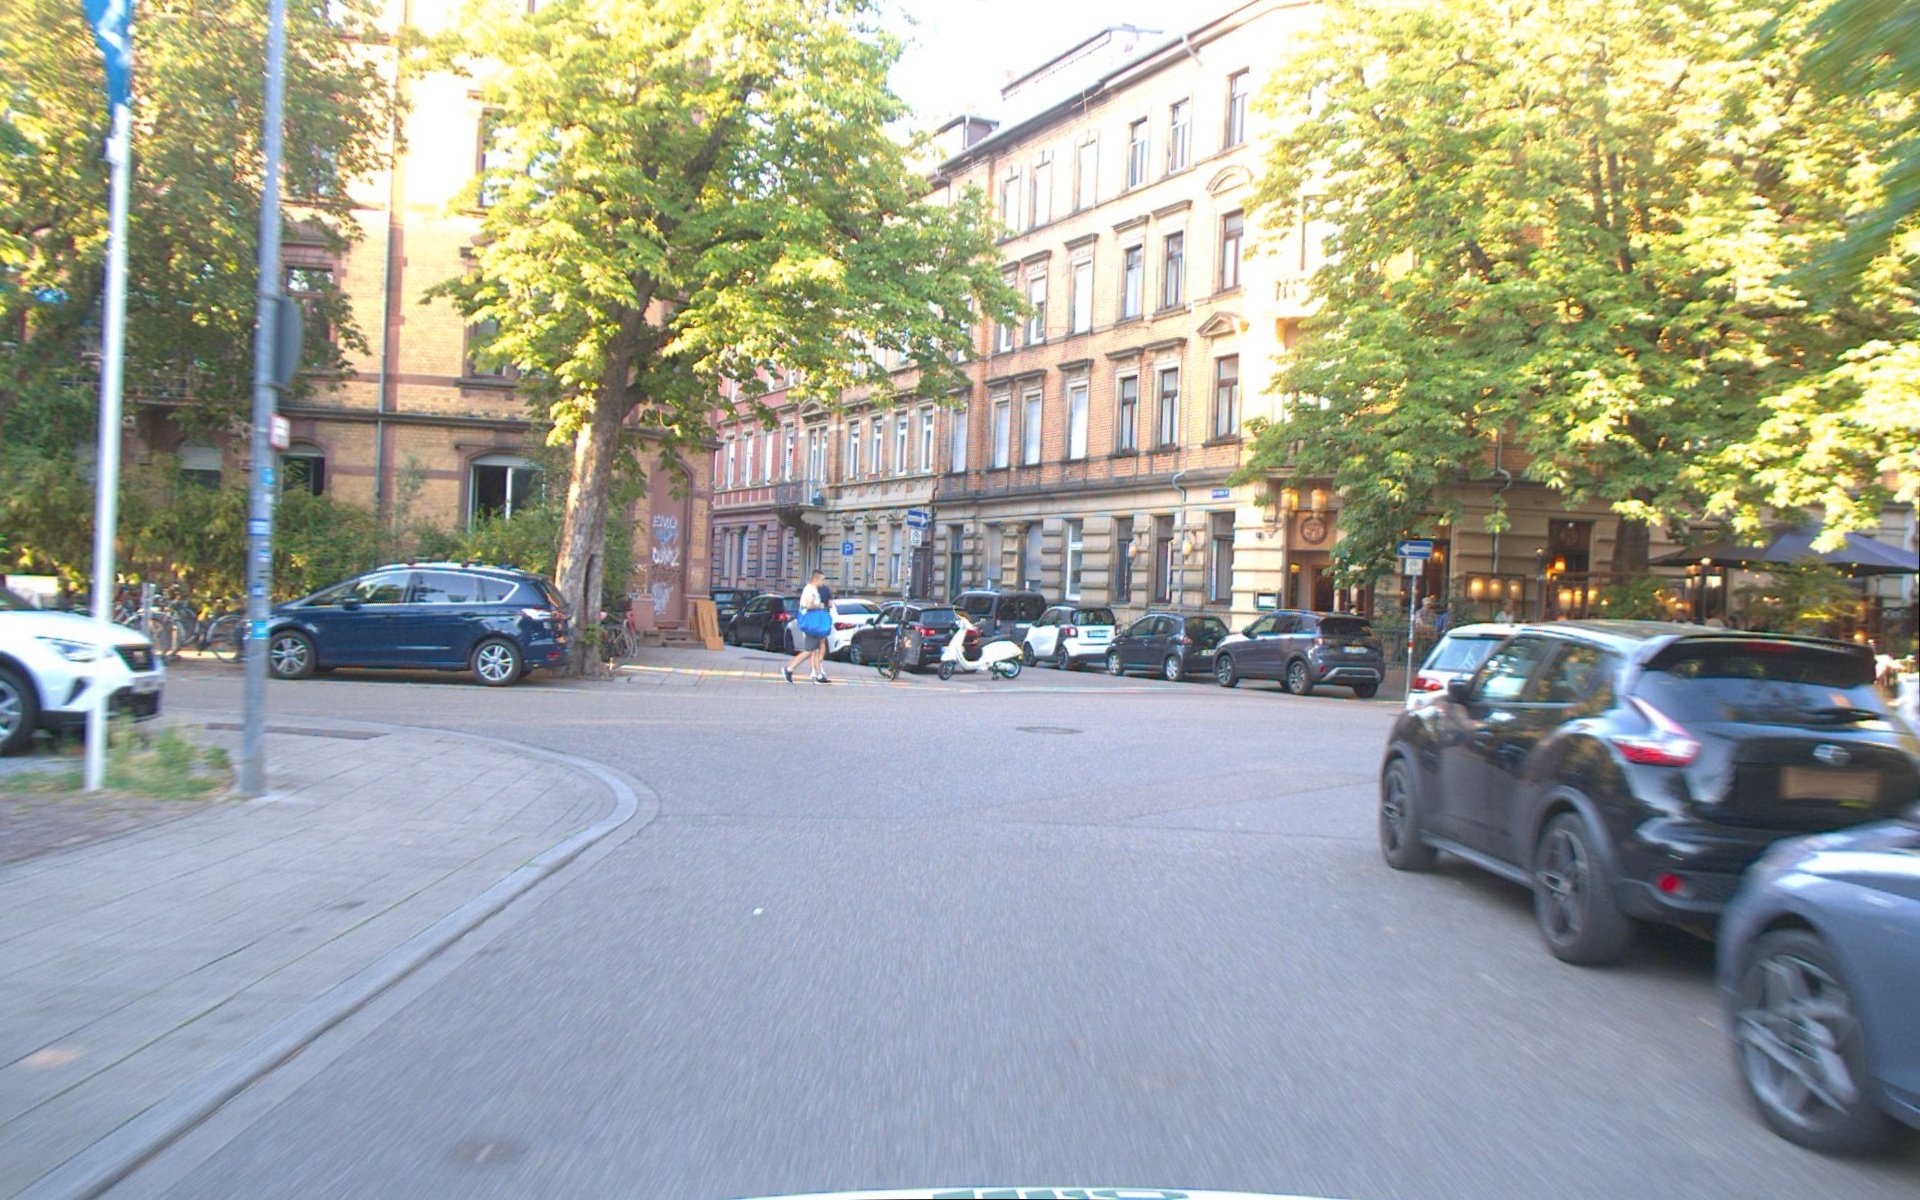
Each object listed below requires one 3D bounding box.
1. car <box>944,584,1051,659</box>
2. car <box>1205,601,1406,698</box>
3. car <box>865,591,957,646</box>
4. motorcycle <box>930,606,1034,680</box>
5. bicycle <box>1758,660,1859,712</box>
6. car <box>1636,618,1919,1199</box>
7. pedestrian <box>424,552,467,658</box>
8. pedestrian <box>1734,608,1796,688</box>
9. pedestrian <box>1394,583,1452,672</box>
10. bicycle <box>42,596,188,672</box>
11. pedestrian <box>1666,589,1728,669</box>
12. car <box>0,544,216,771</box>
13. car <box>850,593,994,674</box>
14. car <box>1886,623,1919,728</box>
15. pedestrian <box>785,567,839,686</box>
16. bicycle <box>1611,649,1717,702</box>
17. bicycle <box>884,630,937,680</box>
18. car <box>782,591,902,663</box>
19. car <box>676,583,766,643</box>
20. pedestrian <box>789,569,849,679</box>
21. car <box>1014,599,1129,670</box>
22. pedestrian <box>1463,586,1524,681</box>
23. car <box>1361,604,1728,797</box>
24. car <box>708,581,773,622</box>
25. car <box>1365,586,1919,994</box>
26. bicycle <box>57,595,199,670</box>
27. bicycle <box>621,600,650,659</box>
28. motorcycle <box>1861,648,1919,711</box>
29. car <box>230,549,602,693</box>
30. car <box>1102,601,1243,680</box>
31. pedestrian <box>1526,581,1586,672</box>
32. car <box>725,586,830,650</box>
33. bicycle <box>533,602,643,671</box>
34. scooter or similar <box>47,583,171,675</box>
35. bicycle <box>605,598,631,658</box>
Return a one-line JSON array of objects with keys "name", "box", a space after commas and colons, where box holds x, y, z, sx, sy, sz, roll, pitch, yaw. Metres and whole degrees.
[{"name": "car", "box": [0.972, 0.542, 43.963, 1.653, 1.813, 2.992, 3, 1, -24]}, {"name": "car", "box": [6.675, 0.934, 32.380, 1.889, 1.552, 3.867, 3, 2, -24]}, {"name": "car", "box": [-1.491, 0.530, 49.243, 1.653, 1.456, 2.992, 3, 1, -24]}, {"name": "motorcycle", "box": [0.428, 0.836, 32.128, 1.897, 1.364, 0.576, 2, 1, -11]}, {"name": "bicycle", "box": [15.690, 1.588, 30.575, 1.842, 0.900, 0.399, 2, 1, -14]}, {"name": "car", "box": [3.409, 0.856, 3.794, 1.662, 1.502, 4.208, 2, 0, -5]}, {"name": "pedestrian", "box": [-8.271, 0.074, 26.592, 0.532, 1.663, 0.448, 2, 1, -5]}, {"name": "pedestrian", "box": [15.835, 0.931, 32.545, 0.759, 1.507, 0.760, 2, 1, -11]}, {"name": "pedestrian", "box": [9.839, 0.585, 35.182, 0.828, 1.835, 0.771, 2, 1, -21]}, {"name": "bicycle", "box": [-12.215, 0.496, 23.965, 1.831, 1.046, 0.442, 2, 1, -25]}, {"name": "pedestrian", "box": [14.442, 0.558, 32.432, 0.759, 1.507, 0.760, 2, 1, -12]}, {"name": "car", "box": [-8.076, 0.293, 12.485, 3.967, 1.500, 1.919, 4, 1, -5]}, {"name": "car", "box": [-0.877, 0.684, 35.400, 1.633, 1.455, 3.961, 3, 1, -24]}, {"name": "car", "box": [17.235, 1.325, 26.697, 3.685, 1.633, 1.625, 3, 2, -7]}, {"name": "pedestrian", "box": [-2.409, 0.426, 27.046, 0.799, 1.884, 0.802, 2, 1, -5]}, {"name": "bicycle", "box": [12.968, 1.390, 30.468, 1.934, 0.900, 0.399, 2, 1, -14]}, {"name": "bicycle", "box": [-0.887, 0.992, 29.999, 0.416, 0.836, 1.462, 2, 1, 21]}, {"name": "car", "box": [-2.907, 0.619, 39.978, 1.632, 1.455, 4.139, 3, 1, -22]}, {"name": "car", "box": [-7.192, 0.356, 49.532, 1.633, 1.551, 3.867, 3, 1, -24]}, {"name": "pedestrian", "box": [-2.457, 0.402, 28.728, 0.724, 1.835, 1.115, 2, 1, -21]}, {"name": "car", "box": [2.708, 0.828, 40.525, 1.653, 1.552, 2.746, 3, 1, -25]}, {"name": "pedestrian", "box": [10.661, 0.655, 33.069, 0.760, 1.835, 0.840, 2, 1, -15]}, {"name": "car", "box": [5.651, 0.882, 15.729, 1.849, 1.492, 3.946, 4, 1, 42]}, {"name": "car", "box": [-8.577, 0.045, 64.448, 1.653, 1.456, 2.992, 3, 1, -24]}, {"name": "car", "box": [3.495, 0.773, 8.639, 1.661, 1.598, 3.970, 2, 0, -1]}, {"name": "bicycle", "box": [-12.304, 0.483, 24.506, 1.831, 1.046, 0.442, 2, 1, -25]}, {"name": "bicycle", "box": [-6.095, 0.540, 31.100, 0.312, 1.046, 1.676, 2, 1, -5]}, {"name": "motorcycle", "box": [17.806, 1.489, 30.714, 1.794, 1.100, 0.519, 2, 1, 6]}, {"name": "car", "box": [-7.748, 0.278, 23.969, 4.737, 1.762, 1.918, 3, 1, -7]}, {"name": "car", "box": [4.695, 0.879, 36.964, 1.653, 1.552, 3.219, 2, 1, -24]}, {"name": "pedestrian", "box": [12.374, 0.538, 34.349, 0.760, 1.835, 0.840, 2, 1, -15]}, {"name": "car", "box": [-4.917, 0.465, 44.239, 1.633, 1.455, 3.867, 3, 1, -24]}, {"name": "bicycle", "box": [-5.978, 0.591, 26.620, 1.650, 1.046, 0.442, 2, 1, -25]}, {"name": "scooter or similar", "box": [-11.965, 0.417, 23.305, 1.493, 1.245, 0.442, 2, 1, -25]}, {"name": "bicycle", "box": [-6.400, 0.515, 30.978, 0.237, 1.046, 1.676, 2, 1, -5]}]
